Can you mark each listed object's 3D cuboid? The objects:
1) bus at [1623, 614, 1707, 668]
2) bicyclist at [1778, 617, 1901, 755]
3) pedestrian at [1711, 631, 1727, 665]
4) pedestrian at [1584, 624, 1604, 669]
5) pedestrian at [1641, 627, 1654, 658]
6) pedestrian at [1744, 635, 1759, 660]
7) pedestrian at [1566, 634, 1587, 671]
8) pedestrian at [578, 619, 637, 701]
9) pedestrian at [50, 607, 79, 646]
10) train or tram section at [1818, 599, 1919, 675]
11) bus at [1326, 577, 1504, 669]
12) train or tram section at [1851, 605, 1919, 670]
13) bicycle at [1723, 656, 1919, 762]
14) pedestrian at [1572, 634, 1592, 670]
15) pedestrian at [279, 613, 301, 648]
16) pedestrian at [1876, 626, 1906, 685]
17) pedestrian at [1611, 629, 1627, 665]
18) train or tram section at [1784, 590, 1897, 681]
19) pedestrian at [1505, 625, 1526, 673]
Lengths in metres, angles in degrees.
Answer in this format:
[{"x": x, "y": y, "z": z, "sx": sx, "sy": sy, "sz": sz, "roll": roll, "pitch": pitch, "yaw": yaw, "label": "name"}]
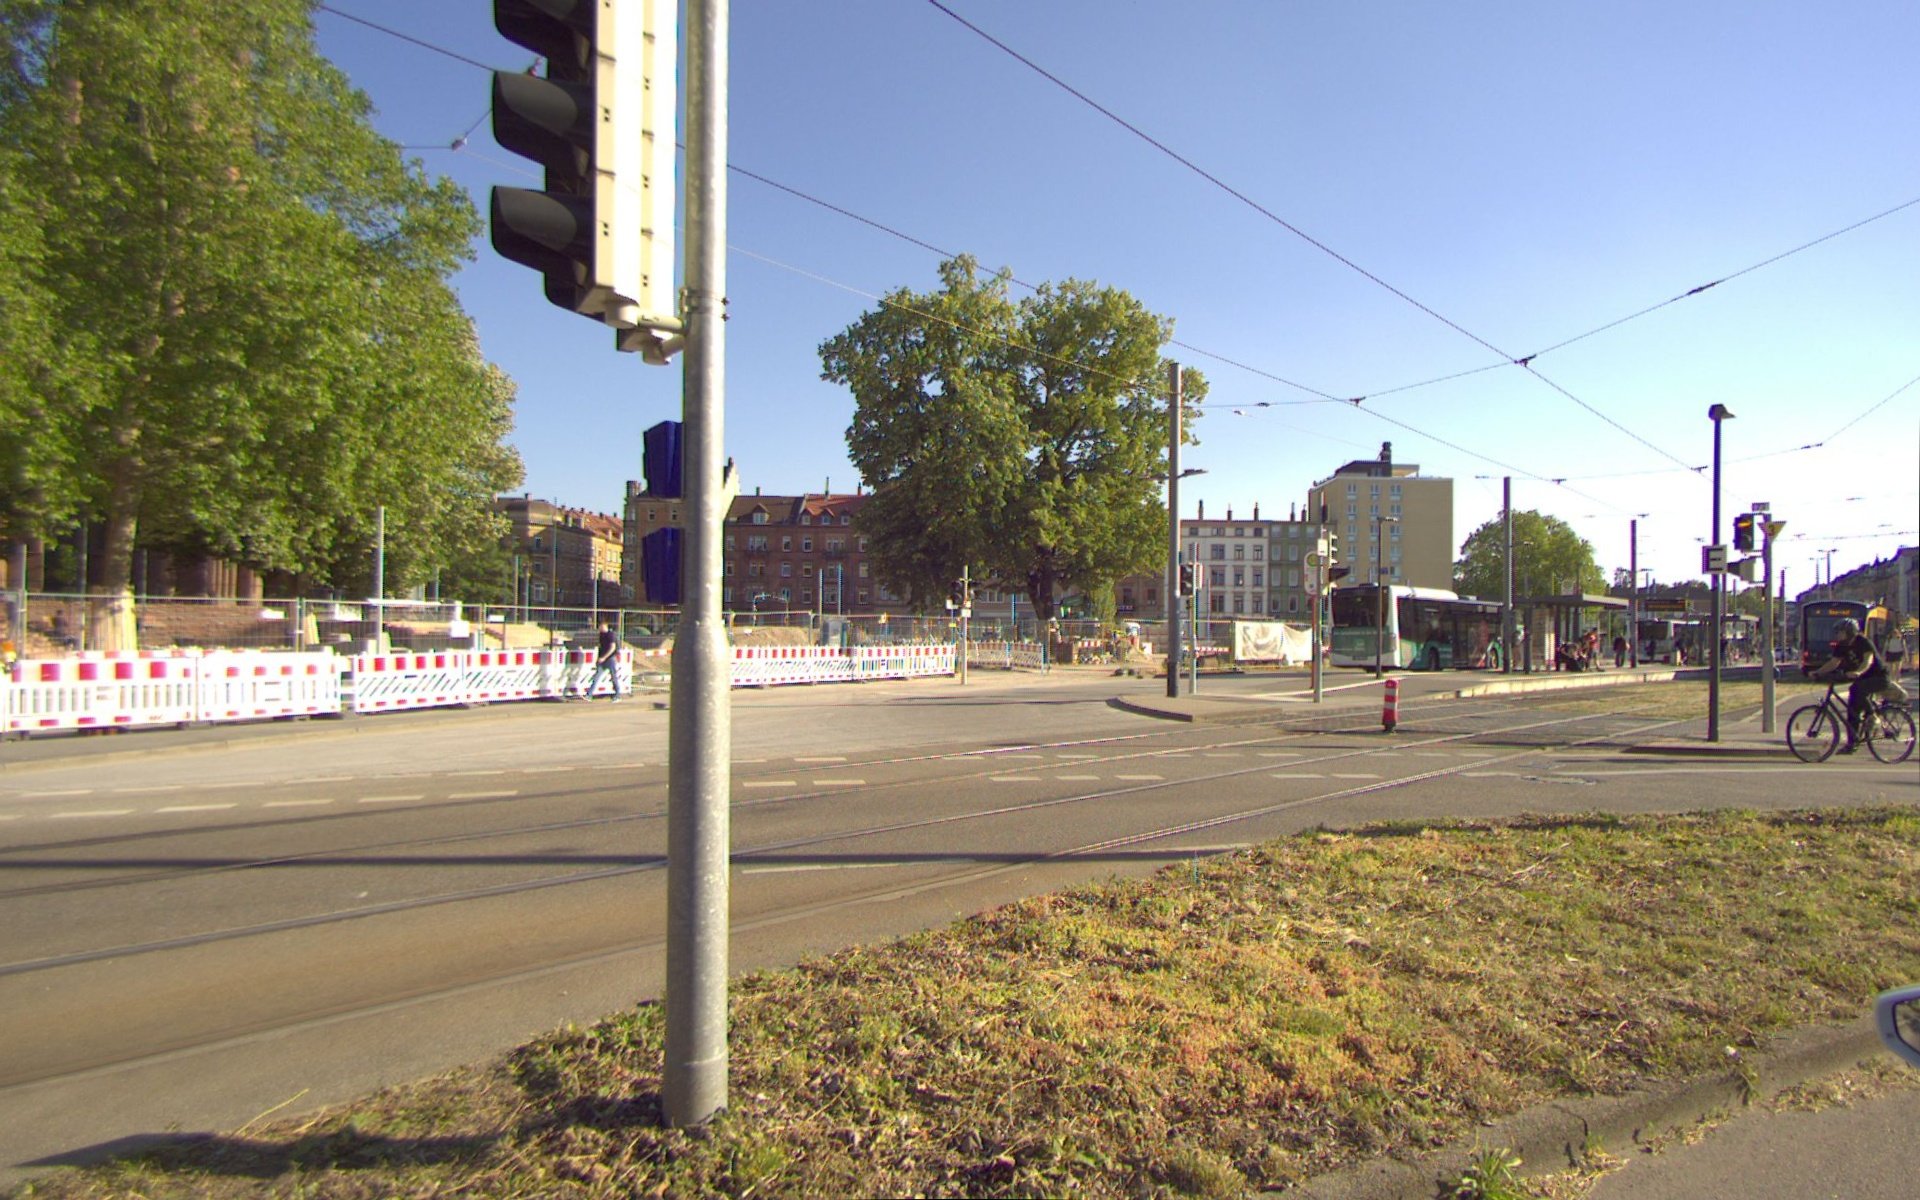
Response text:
[{"x": 48.561, "y": 2.779, "z": 68.972, "sx": 2.692, "sy": 3.317, "sz": 13.386, "roll": 2, "pitch": 0, "yaw": 43, "label": "bus"}, {"x": 11.055, "y": 1.074, "z": 12.650, "sx": 0.885, "sy": 1.678, "sz": 0.710, "roll": 1, "pitch": -4, "yaw": -10, "label": "bicyclist"}, {"x": 40.521, "y": 2.547, "z": 53.616, "sx": 0.629, "sy": 1.772, "sz": 0.571, "roll": 0, "pitch": -2, "yaw": 32, "label": "pedestrian"}, {"x": 25.321, "y": 1.850, "z": 40.126, "sx": 0.564, "sy": 1.772, "sz": 0.636, "roll": -1, "pitch": -2, "yaw": 41, "label": "pedestrian"}, {"x": 39.527, "y": 2.449, "z": 57.746, "sx": 0.563, "sy": 1.772, "sz": 0.637, "roll": -1, "pitch": -2, "yaw": 39, "label": "pedestrian"}, {"x": 57.488, "y": 3.463, "z": 72.967, "sx": 0.634, "sy": 1.772, "sz": 0.728, "roll": 2, "pitch": -2, "yaw": -39, "label": "pedestrian"}, {"x": 23.499, "y": 1.995, "z": 38.262, "sx": 0.609, "sy": 1.358, "sz": 0.438, "roll": -1, "pitch": -2, "yaw": 42, "label": "pedestrian"}, {"x": -7.594, "y": 1.291, "z": 21.665, "sx": 0.699, "sy": 1.719, "sz": 0.899, "roll": -1, "pitch": -4, "yaw": 31, "label": "pedestrian"}, {"x": -38.007, "y": 1.121, "z": 42.645, "sx": 0.665, "sy": 1.669, "sz": 0.635, "roll": 1, "pitch": -1, "yaw": -20, "label": "pedestrian"}, {"x": 49.168, "y": 1.974, "z": 54.084, "sx": 12.110, "sy": 3.644, "sz": 2.984, "roll": 2, "pitch": 0, "yaw": -42, "label": "train or tram section"}, {"x": 17.803, "y": 0.902, "z": 38.863, "sx": 9.572, "sy": 3.177, "sz": 2.629, "roll": 2, "pitch": 0, "yaw": -42, "label": "bus"}, {"x": 58.099, "y": 2.334, "z": 62.108, "sx": 11.959, "sy": 3.644, "sz": 3.013, "roll": 2, "pitch": 0, "yaw": -41, "label": "train or tram section"}, {"x": 10.934, "y": 1.352, "z": 12.610, "sx": 2.412, "sy": 1.266, "sz": 0.675, "roll": 1, "pitch": -4, "yaw": -10, "label": "bicycle"}, {"x": 23.990, "y": 2.015, "z": 38.755, "sx": 0.564, "sy": 1.363, "sz": 0.636, "roll": -1, "pitch": -2, "yaw": 41, "label": "pedestrian"}, {"x": -31.982, "y": 1.444, "z": 47.959, "sx": 0.752, "sy": 1.669, "sz": 0.671, "roll": 2, "pitch": -1, "yaw": -28, "label": "pedestrian"}, {"x": 28.404, "y": 1.693, "z": 30.653, "sx": 0.630, "sy": 1.772, "sz": 0.569, "roll": -1, "pitch": -2, "yaw": 40, "label": "pedestrian"}, {"x": 32.408, "y": 2.303, "z": 49.408, "sx": 0.629, "sy": 1.772, "sz": 0.571, "roll": 0, "pitch": -2, "yaw": 32, "label": "pedestrian"}, {"x": 40.325, "y": 1.603, "z": 45.794, "sx": 12.118, "sy": 3.644, "sz": 2.853, "roll": 2, "pitch": 0, "yaw": -44, "label": "train or tram section"}, {"x": 20.969, "y": 1.844, "z": 37.900, "sx": 0.555, "sy": 1.772, "sz": 0.533, "roll": 2, "pitch": -2, "yaw": -37, "label": "pedestrian"}]
